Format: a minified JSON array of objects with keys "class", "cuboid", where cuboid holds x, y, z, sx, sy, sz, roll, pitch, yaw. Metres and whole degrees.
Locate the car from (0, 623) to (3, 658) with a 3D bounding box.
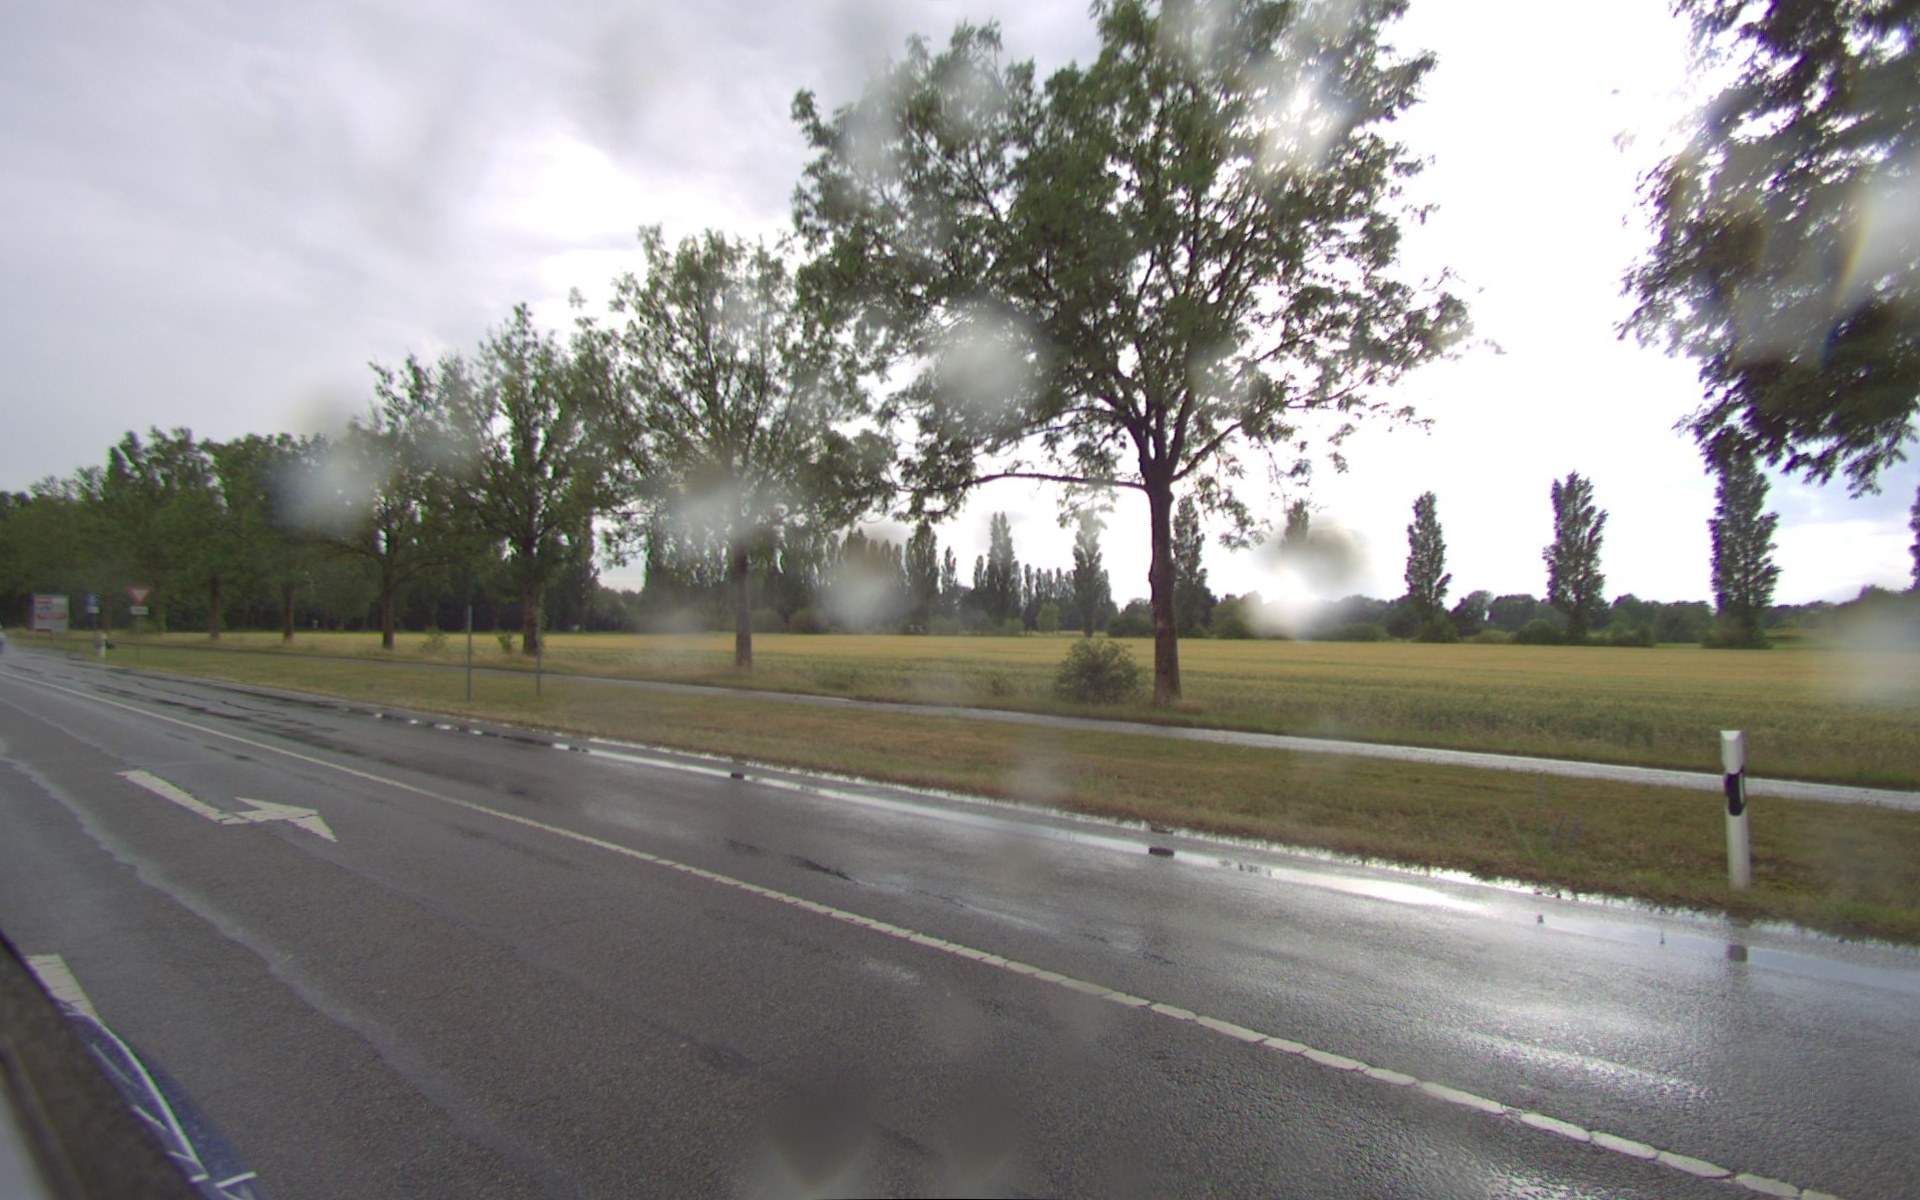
[{"class":"car","cuboid":[-45.270,1.865,46.344,4.155,1.684,1.685,-1,-4,42]}]
